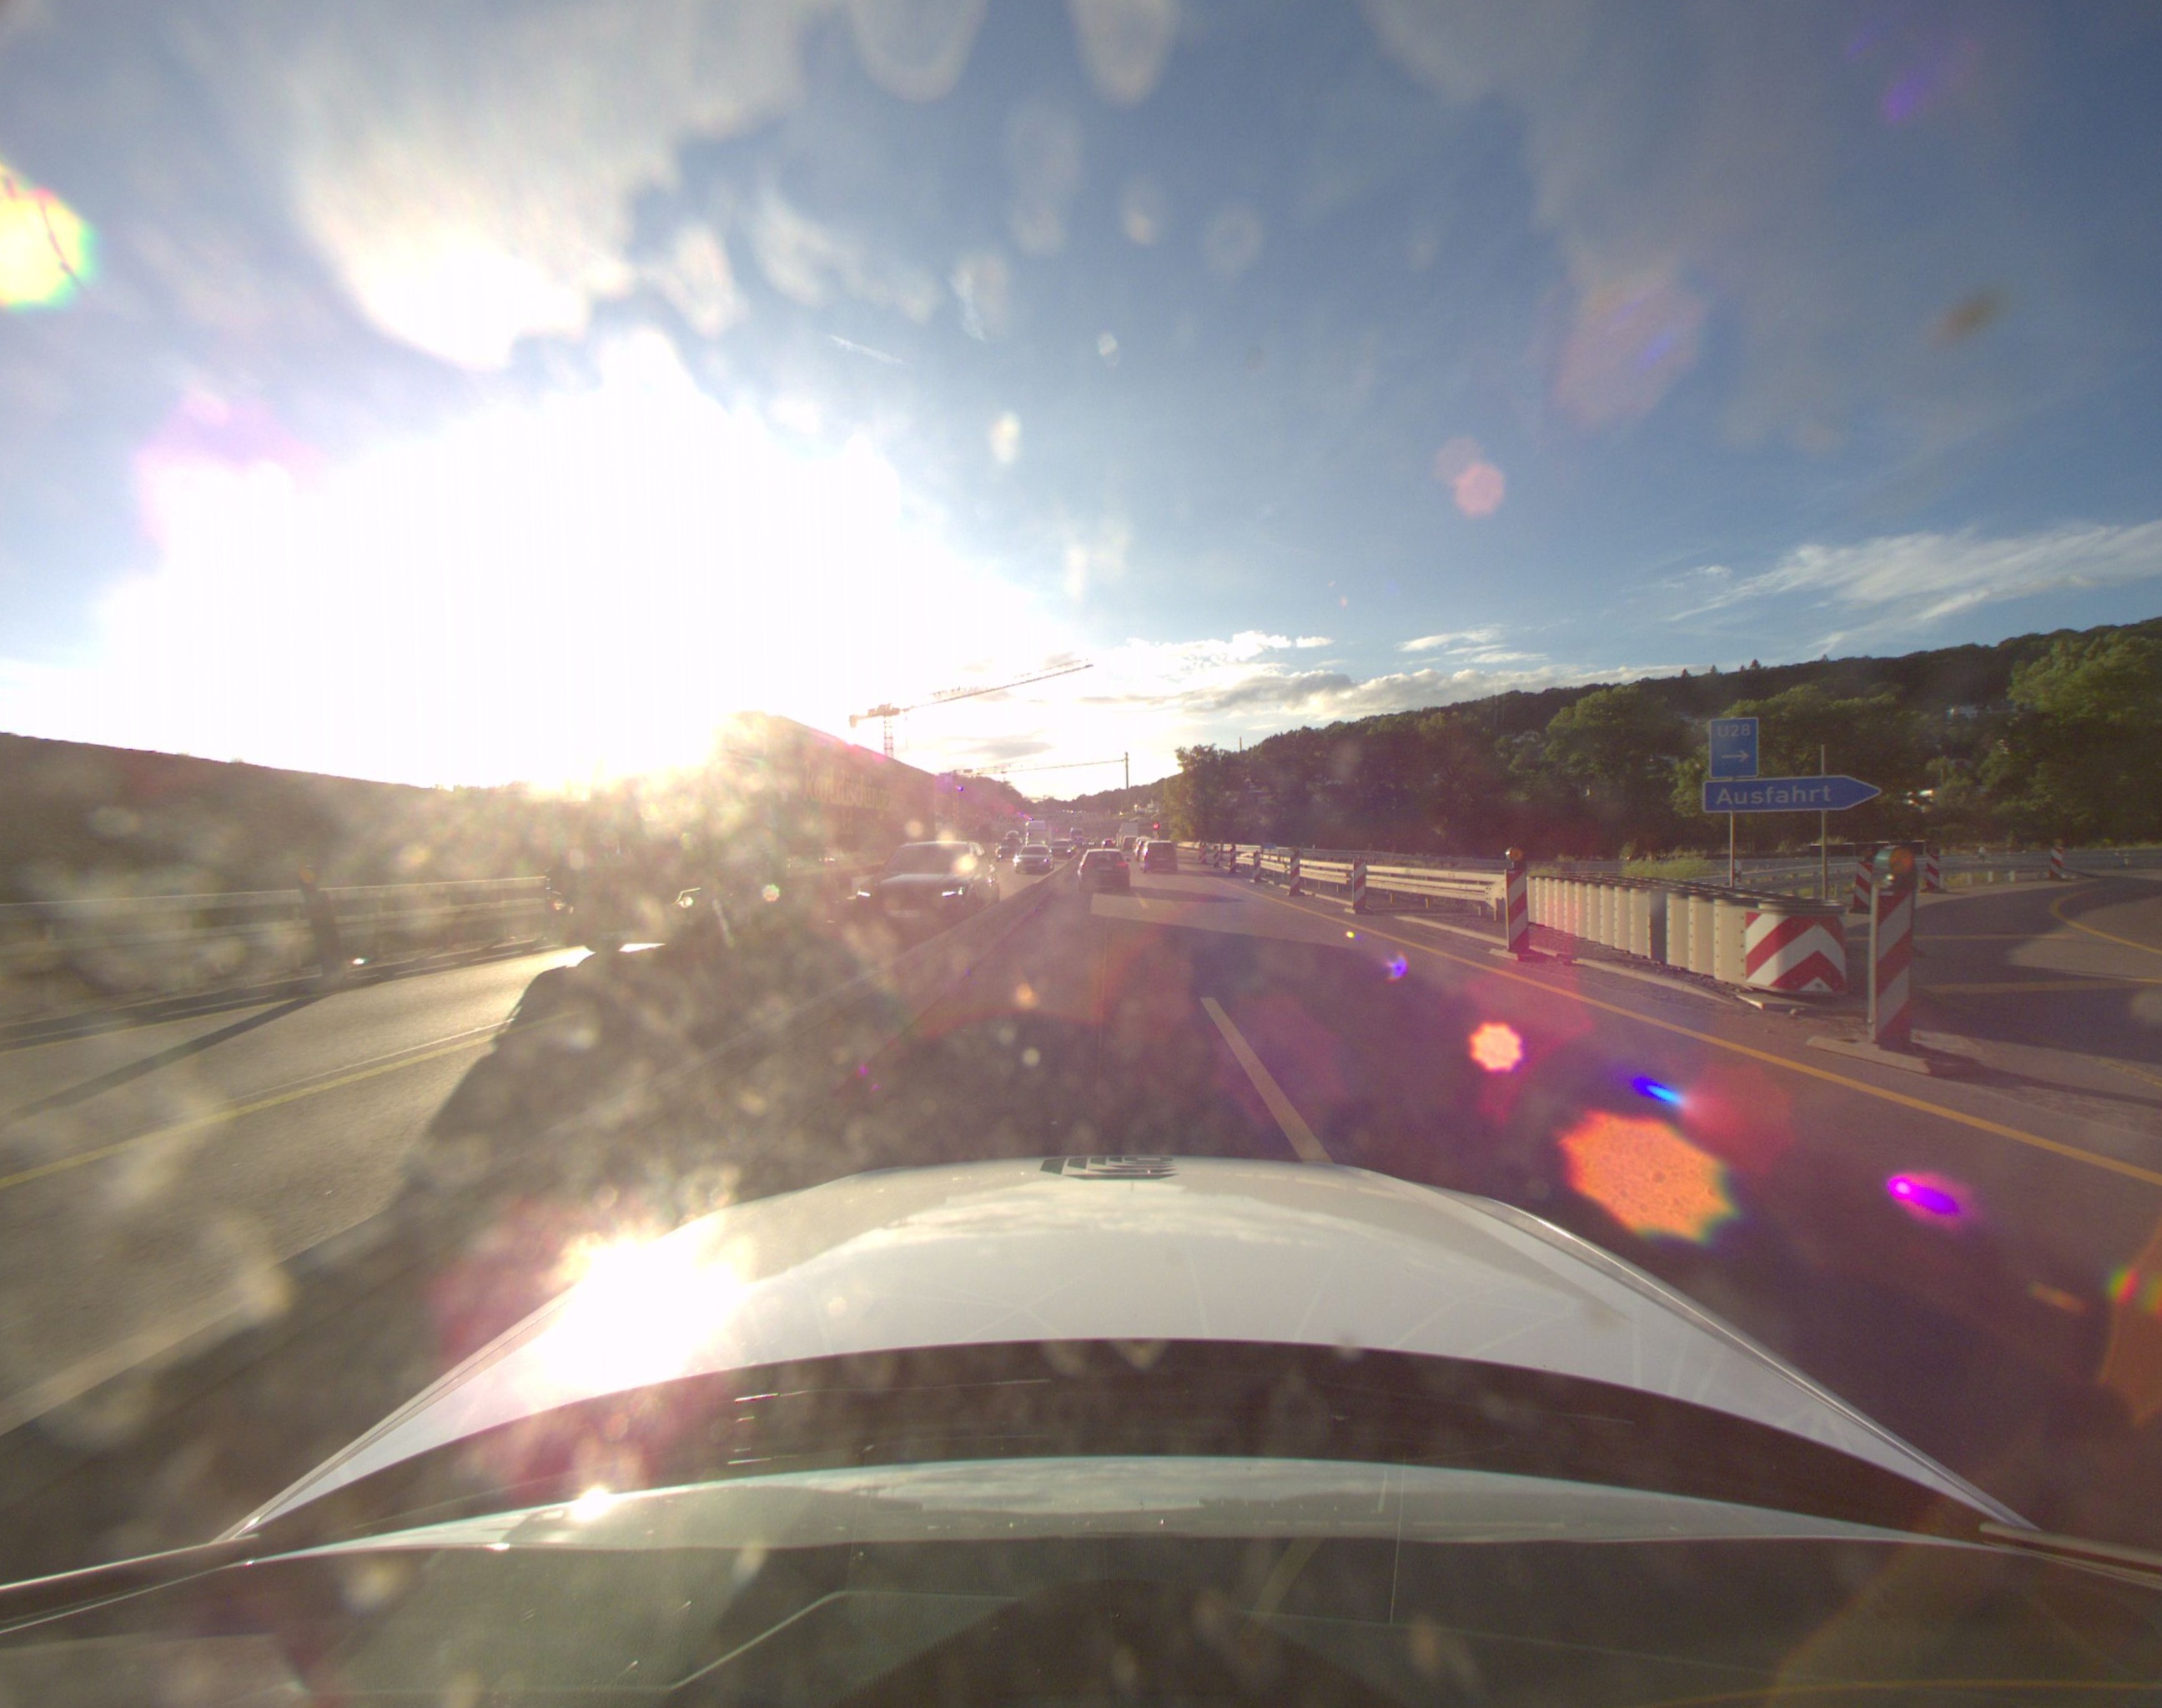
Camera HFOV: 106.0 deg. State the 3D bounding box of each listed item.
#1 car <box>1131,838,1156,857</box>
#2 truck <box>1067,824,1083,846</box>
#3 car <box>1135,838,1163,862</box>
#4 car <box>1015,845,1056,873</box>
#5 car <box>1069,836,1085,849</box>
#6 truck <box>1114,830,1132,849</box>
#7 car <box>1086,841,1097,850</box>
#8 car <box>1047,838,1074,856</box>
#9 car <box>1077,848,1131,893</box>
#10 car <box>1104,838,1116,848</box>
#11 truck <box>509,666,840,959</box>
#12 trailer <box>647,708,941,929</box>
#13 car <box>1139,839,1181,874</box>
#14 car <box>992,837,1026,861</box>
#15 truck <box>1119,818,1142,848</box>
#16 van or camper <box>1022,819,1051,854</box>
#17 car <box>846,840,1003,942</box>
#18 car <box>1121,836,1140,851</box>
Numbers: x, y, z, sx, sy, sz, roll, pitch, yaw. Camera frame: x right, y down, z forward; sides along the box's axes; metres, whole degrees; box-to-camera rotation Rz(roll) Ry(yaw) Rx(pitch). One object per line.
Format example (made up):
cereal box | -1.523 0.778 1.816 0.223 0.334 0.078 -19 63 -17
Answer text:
car | 5.471 -0.552 71.543 1.869 1.599 4.966 -1 0 1
truck | -1.103 -3.655 156.642 2.803 4.048 5.677 -1 1 3
car | 4.809 -0.307 57.980 1.767 1.586 4.138 0 1 2
car | -2.396 0.233 43.502 1.854 1.432 4.157 0 0 1
car | -0.464 -1.432 100.790 1.821 1.640 4.531 -1 1 1
truck | 10.591 -3.754 207.557 3.878 4.497 13.846 0 1 0
car | 1.805 -1.415 137.683 1.761 1.535 4.000 0 0 0
car | -1.606 -0.542 65.923 1.808 1.463 4.709 0 0 3
car | 0.768 0.509 28.438 1.764 1.389 4.000 0 1 0
car | 4.473 -1.719 127.542 1.856 1.420 4.002 0 1 2
truck | -6.534 -0.599 14.269 2.759 4.081 5.778 0 0 2
trailer | -6.399 -0.697 21.663 2.764 4.031 13.684 0 0 1
car | 4.045 0.066 42.401 1.806 1.615 4.527 -2 2 1
car | -5.297 -0.377 60.540 1.986 1.764 4.443 0 0 2
truck | 7.842 -3.515 130.155 3.372 4.497 15.279 0 2 2
van or camper | -4.622 -1.892 85.979 2.449 3.498 7.417 -1 1 2
car | -2.721 0.618 15.260 1.904 1.609 4.497 -1 -1 2
car | 5.209 -1.099 86.301 1.808 1.632 4.412 0 0 1
